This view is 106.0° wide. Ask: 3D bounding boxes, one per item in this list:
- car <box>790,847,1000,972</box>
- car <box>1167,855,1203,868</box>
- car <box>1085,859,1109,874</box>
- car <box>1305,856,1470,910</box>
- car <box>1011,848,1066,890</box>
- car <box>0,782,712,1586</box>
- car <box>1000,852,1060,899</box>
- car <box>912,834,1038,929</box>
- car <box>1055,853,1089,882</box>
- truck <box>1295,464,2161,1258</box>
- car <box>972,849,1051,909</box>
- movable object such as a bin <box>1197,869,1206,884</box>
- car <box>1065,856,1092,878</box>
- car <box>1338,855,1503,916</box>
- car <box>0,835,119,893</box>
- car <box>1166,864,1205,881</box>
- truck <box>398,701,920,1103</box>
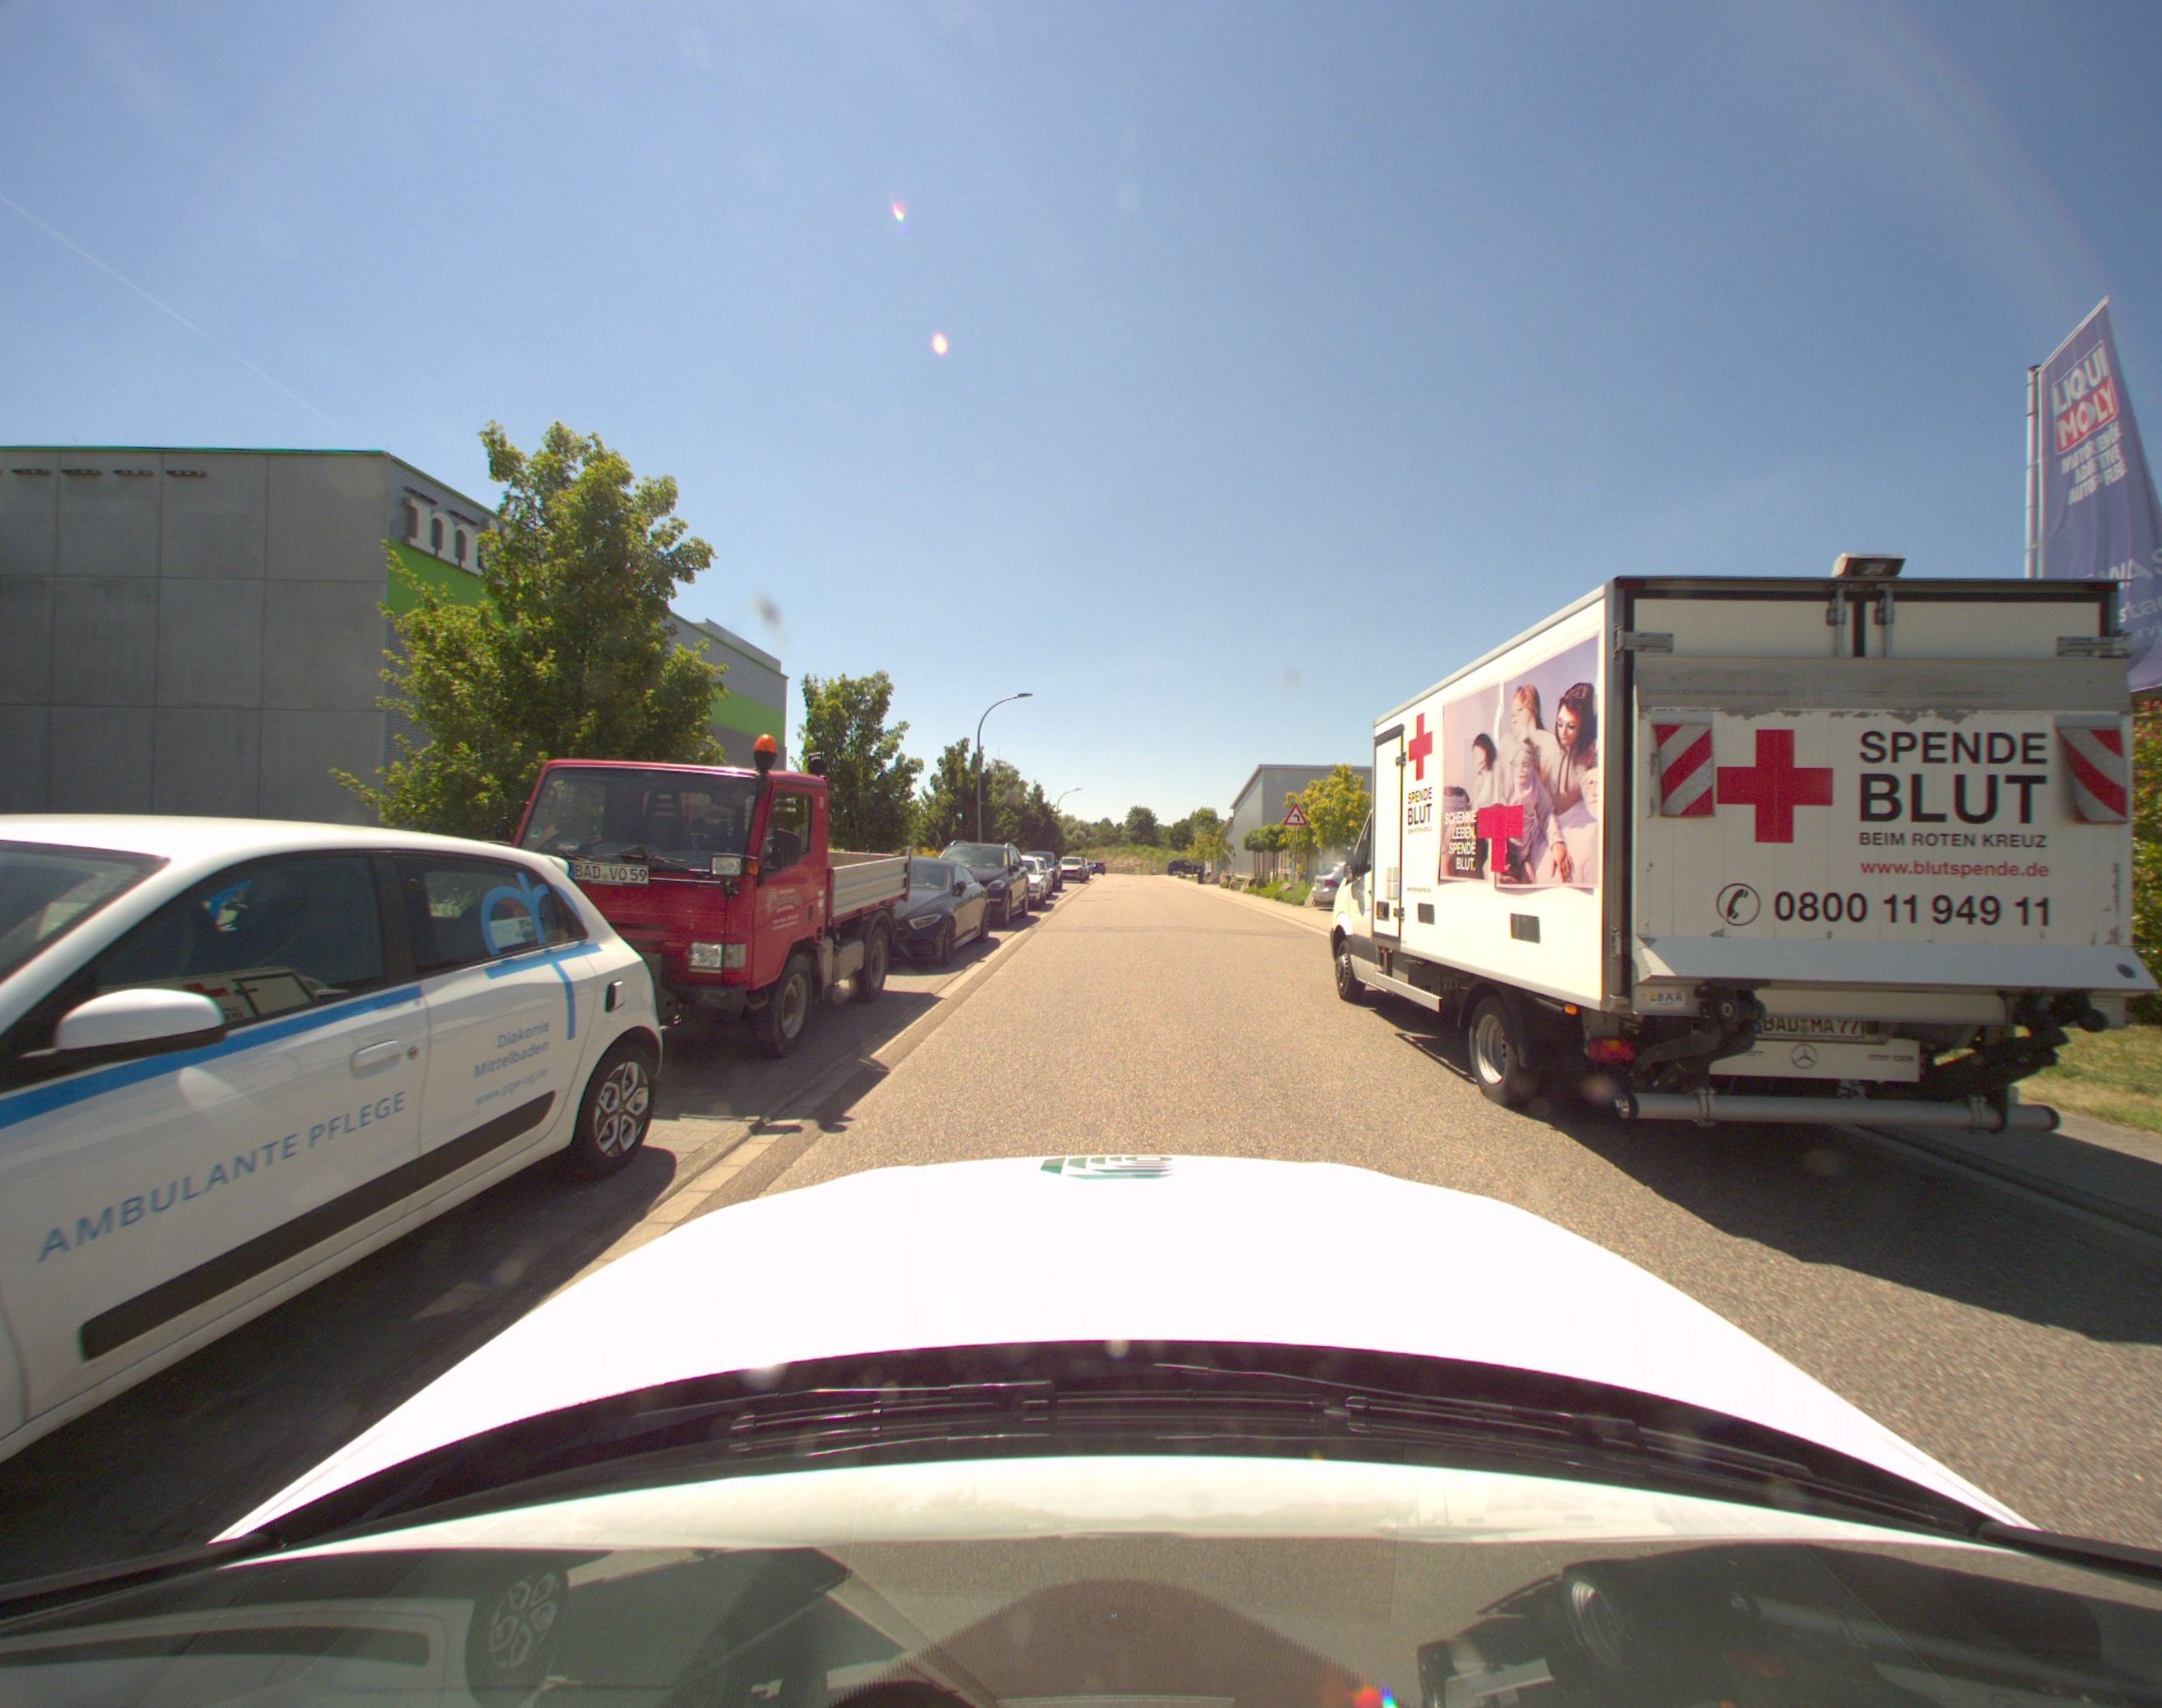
[{"bbox_3d":[-2.524,0.692,12.382,1.844,1.443,4.756,3,0,2],"label":"car"},{"bbox_3d":[12.286,0.919,96.114,3.995,1.462,1.893,-1,-1,1],"label":"car"},{"bbox_3d":[1.841,1.431,96.390,1.915,1.713,4.013,1,0,-13],"label":"car"},{"bbox_3d":[9.045,0.833,24.316,4.261,1.541,1.915,0,0,3],"label":"car"},{"bbox_3d":[-1.854,0.647,37.186,1.983,1.713,5.010,3,0,2],"label":"car"},{"bbox_3d":[-2.966,0.601,2.500,1.845,1.551,3.767,3,0,0],"label":"car"},{"bbox_3d":[-1.795,0.734,30.306,1.846,1.519,5.165,3,0,0],"label":"car"},{"bbox_3d":[-2.193,0.544,18.292,1.844,1.758,4.991,3,0,3],"label":"car"},{"bbox_3d":[-0.521,0.833,52.906,1.905,1.713,4.415,3,0,2],"label":"car"},{"bbox_3d":[3.694,0.025,6.770,2.446,3.205,6.889,1,0,4],"label":"truck"},{"bbox_3d":[-1.921,0.672,23.991,1.846,1.519,4.904,3,0,0],"label":"car"},{"bbox_3d":[8.114,1.522,54.978,0.556,0.946,0.539,0,-1,1],"label":"movable object such as a bin"},{"bbox_3d":[-0.145,0.980,64.806,1.905,1.655,4.757,1,0,2],"label":"car"},{"bbox_3d":[8.958,0.802,21.757,3.676,1.541,1.915,0,0,3],"label":"car"},{"bbox_3d":[-28.229,0.230,21.364,3.741,1.448,1.858,1,0,1],"label":"car"},{"bbox_3d":[11.488,2.034,89.805,3.995,1.655,1.858,-3,-1,1],"label":"car"},{"bbox_3d":[-2.880,0.281,6.998,1.844,2.222,4.647,3,0,2],"label":"truck"}]
